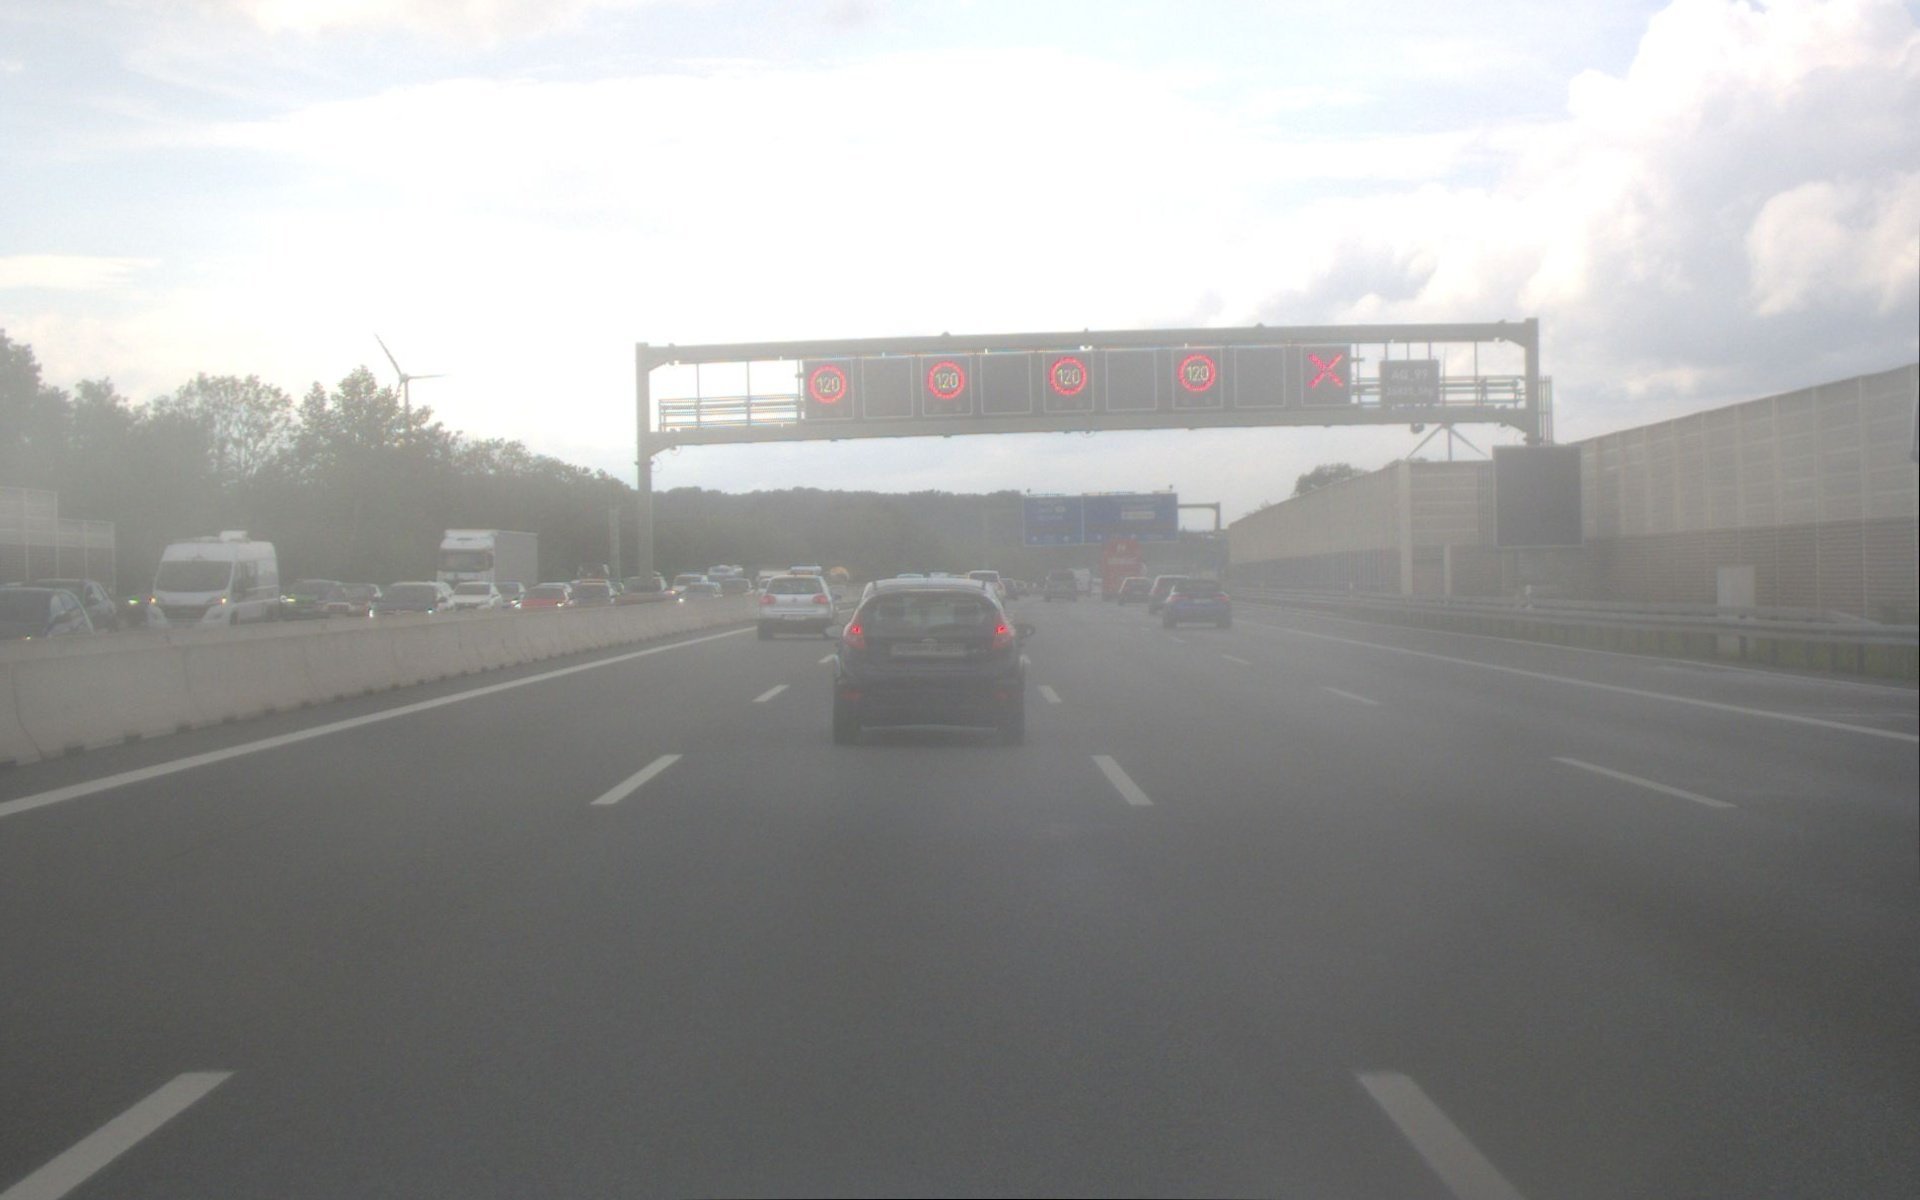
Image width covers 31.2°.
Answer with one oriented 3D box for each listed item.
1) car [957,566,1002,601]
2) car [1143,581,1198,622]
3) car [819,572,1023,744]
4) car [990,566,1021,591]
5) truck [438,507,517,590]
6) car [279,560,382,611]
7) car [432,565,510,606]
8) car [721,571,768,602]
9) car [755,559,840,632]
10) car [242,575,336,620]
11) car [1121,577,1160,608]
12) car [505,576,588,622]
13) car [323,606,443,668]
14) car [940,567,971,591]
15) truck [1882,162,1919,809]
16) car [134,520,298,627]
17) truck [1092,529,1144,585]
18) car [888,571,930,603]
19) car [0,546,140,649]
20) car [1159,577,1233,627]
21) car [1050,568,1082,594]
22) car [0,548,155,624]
[{"bbox_3d":[0.918,-0.742,159.582,1.968,1.555,4.433,-1,0,2],"label":"car"},{"bbox_3d":[8.259,0.066,135.248,1.882,1.537,4.433,-1,0,1],"label":"car"},{"bbox_3d":[-0.343,0.471,31.103,1.717,1.412,4.278,0,1,0],"label":"car"},{"bbox_3d":[2.983,-1.391,225.396,1.968,1.555,4.433,-1,0,0],"label":"car"},{"bbox_3d":[-23.871,-2.535,170.242,2.972,4.021,5.726,0,1,1],"label":"truck"},{"bbox_3d":[-18.878,-0.421,103.342,2.060,1.486,4.997,0,0,2],"label":"car"},{"bbox_3d":[-18.062,-0.544,127.215,2.060,1.486,4.997,0,0,2],"label":"car"},{"bbox_3d":[-11.638,-0.716,186.314,2.060,1.640,5.380,0,0,2],"label":"car"},{"bbox_3d":[-3.728,-0.125,79.557,1.717,1.618,4.278,0,1,1],"label":"car"},{"bbox_3d":[-22.587,-0.095,115.924,2.060,1.486,4.997,0,0,2],"label":"car"},{"bbox_3d":[9.341,-0.363,178.293,1.882,1.555,4.433,-1,0,2],"label":"car"},{"bbox_3d":[-13.894,-0.041,115.717,2.060,1.486,4.997,0,0,2],"label":"car"},{"bbox_3d":[-14.493,0.908,86.676,2.060,1.486,4.997,0,0,2],"label":"car"},{"bbox_3d":[-0.304,-1.451,236.305,1.968,1.555,4.433,-1,0,2],"label":"car"},{"bbox_3d":[7.364,-0.689,19.345,2.744,4.021,5.726,0,1,-1],"label":"truck"},{"bbox_3d":[-18.414,-0.654,85.507,2.383,2.541,7.086,0,0,2],"label":"car"},{"bbox_3d":[10.383,-2.828,227.045,3.152,3.589,12.699,1,1,2],"label":"truck"},{"bbox_3d":[-2.583,-0.668,175.052,1.968,1.555,4.433,-1,0,2],"label":"car"},{"bbox_3d":[-14.115,-0.038,52.252,2.060,1.486,4.997,0,0,1],"label":"car"},{"bbox_3d":[6.801,0.059,99.565,1.950,1.413,4.232,0,0,2],"label":"car"},{"bbox_3d":[6.573,-1.170,213.633,1.968,1.555,4.433,-1,0,1],"label":"car"},{"bbox_3d":[-18.140,-0.278,70.327,2.060,1.486,4.997,0,0,2],"label":"car"}]
